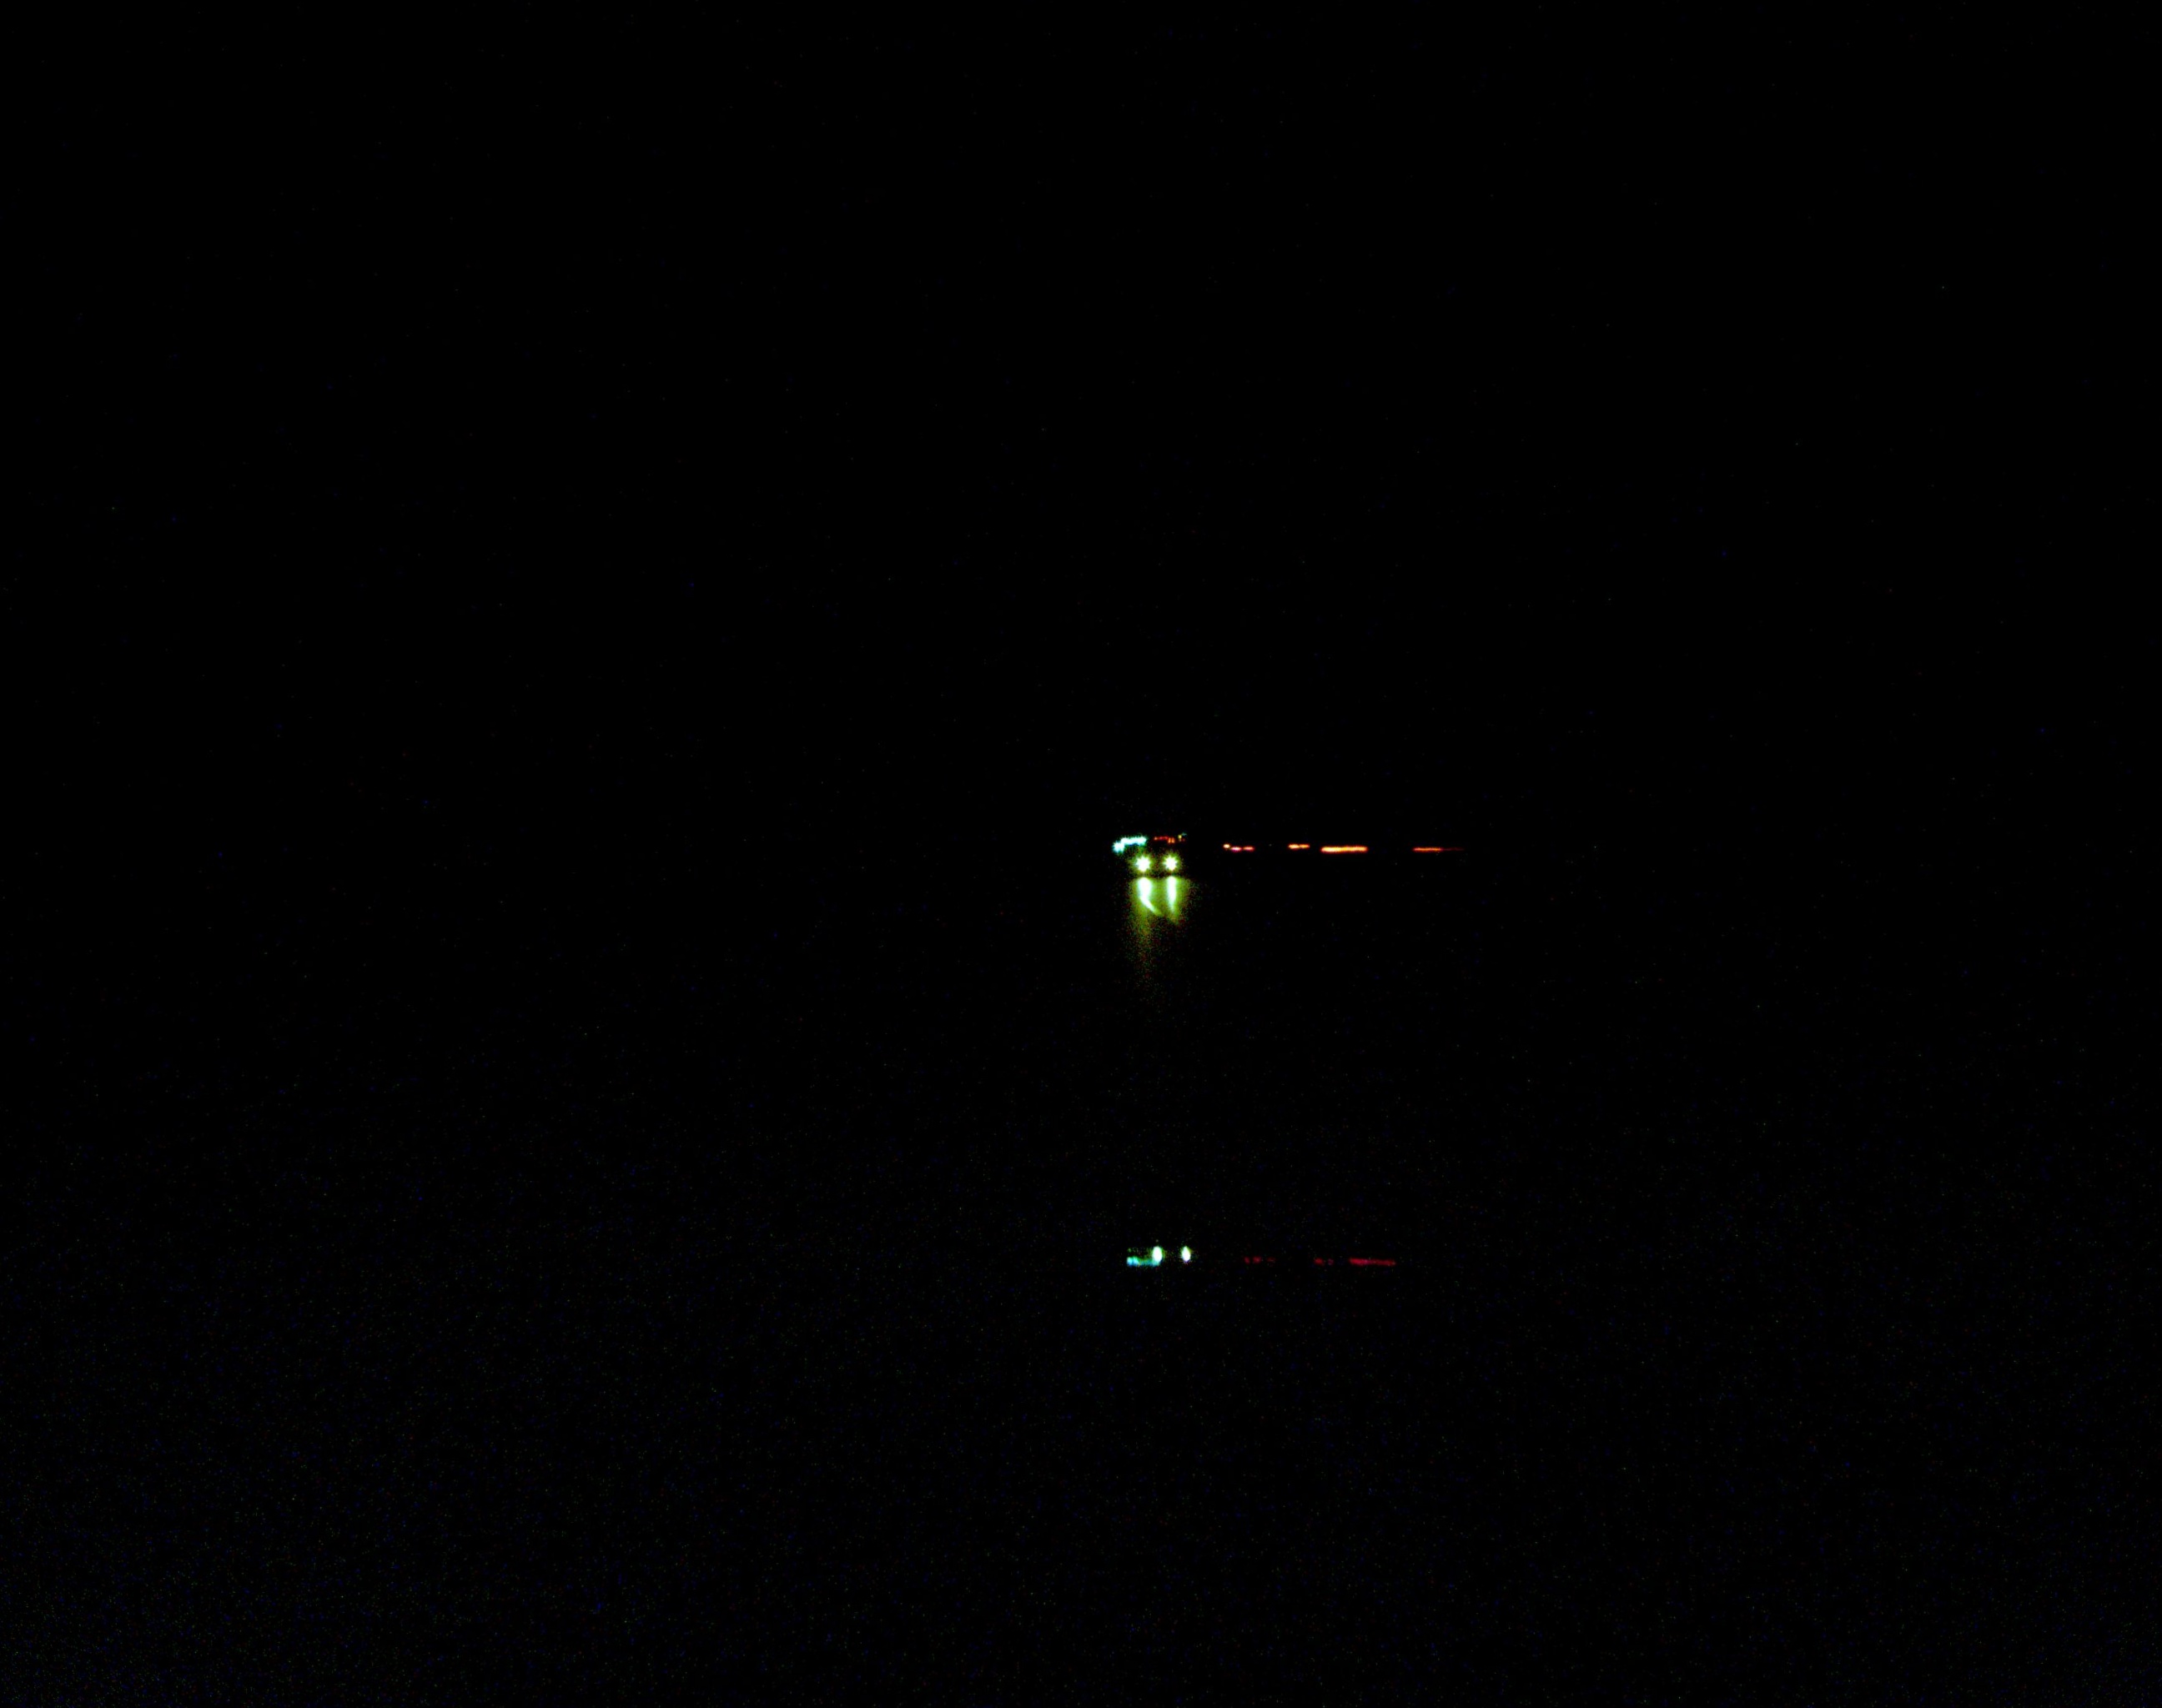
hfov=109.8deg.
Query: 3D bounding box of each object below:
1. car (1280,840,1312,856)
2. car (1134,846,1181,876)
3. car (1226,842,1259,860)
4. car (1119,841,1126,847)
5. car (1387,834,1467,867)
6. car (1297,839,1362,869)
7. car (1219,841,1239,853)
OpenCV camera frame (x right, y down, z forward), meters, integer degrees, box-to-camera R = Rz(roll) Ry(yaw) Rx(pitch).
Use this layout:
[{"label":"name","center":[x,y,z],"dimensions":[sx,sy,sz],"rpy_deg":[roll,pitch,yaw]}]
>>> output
[{"label":"car","center":[24.935,-0.718,88.216],"dimensions":[2.124,1.711,5.191],"rpy_deg":[-2,0,0]},{"label":"car","center":[4.285,0.385,43.344],"dimensions":[1.999,1.509,5.650],"rpy_deg":[-3,0,0]},{"label":"car","center":[16.944,-0.347,79.940],"dimensions":[2.124,1.711,5.626],"rpy_deg":[-2,0,0]},{"label":"car","center":[12.109,-3.077,223.881],"dimensions":[1.998,1.653,4.000],"rpy_deg":[-2,1,2]},{"label":"car","center":[19.509,-0.212,43.108],"dimensions":[2.124,1.687,5.108],"rpy_deg":[-2,0,0]},{"label":"car","center":[15.489,-0.014,47.701],"dimensions":[2.124,1.711,5.626],"rpy_deg":[-2,0,0]},{"label":"car","center":[22.584,-1.120,116.245],"dimensions":[2.124,1.711,5.626],"rpy_deg":[-2,0,1]}]
